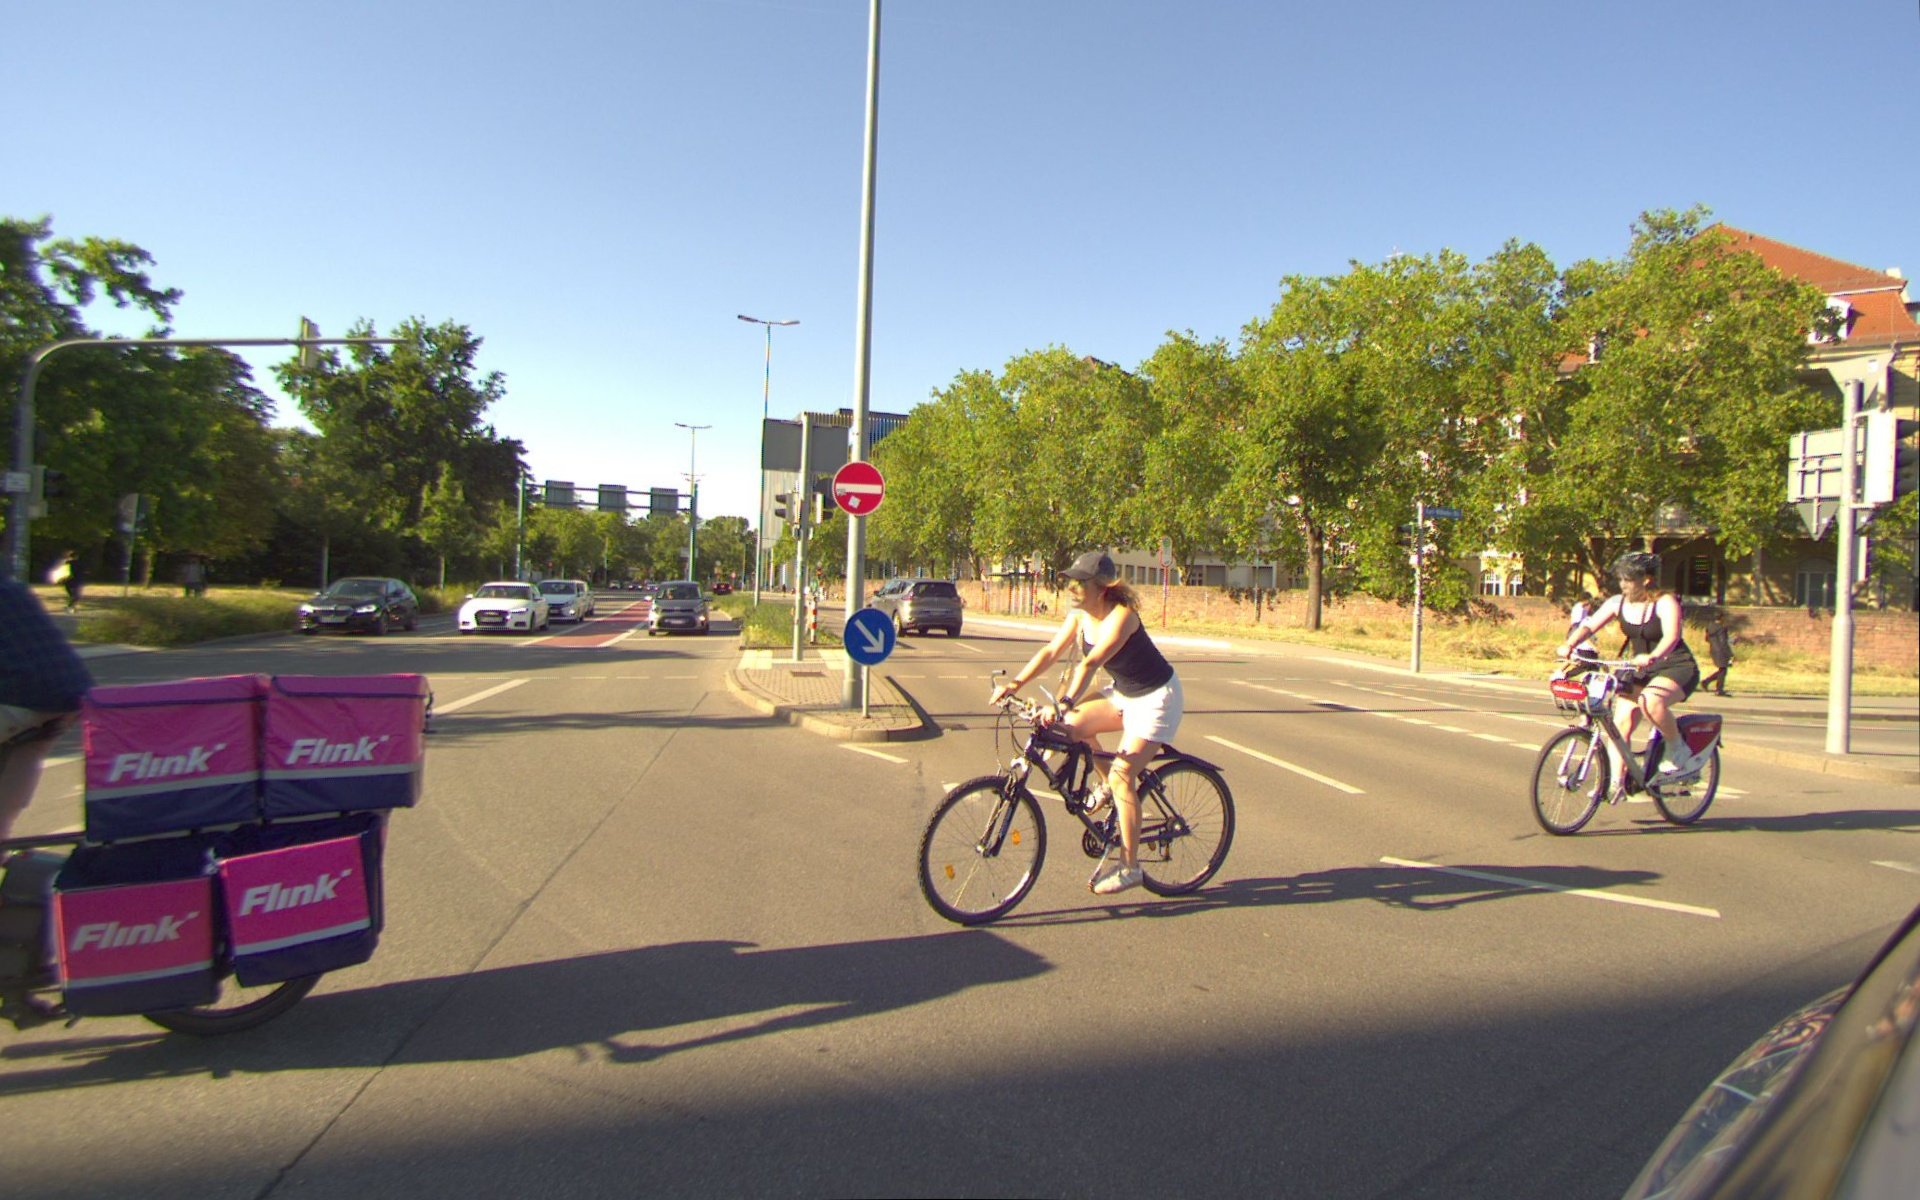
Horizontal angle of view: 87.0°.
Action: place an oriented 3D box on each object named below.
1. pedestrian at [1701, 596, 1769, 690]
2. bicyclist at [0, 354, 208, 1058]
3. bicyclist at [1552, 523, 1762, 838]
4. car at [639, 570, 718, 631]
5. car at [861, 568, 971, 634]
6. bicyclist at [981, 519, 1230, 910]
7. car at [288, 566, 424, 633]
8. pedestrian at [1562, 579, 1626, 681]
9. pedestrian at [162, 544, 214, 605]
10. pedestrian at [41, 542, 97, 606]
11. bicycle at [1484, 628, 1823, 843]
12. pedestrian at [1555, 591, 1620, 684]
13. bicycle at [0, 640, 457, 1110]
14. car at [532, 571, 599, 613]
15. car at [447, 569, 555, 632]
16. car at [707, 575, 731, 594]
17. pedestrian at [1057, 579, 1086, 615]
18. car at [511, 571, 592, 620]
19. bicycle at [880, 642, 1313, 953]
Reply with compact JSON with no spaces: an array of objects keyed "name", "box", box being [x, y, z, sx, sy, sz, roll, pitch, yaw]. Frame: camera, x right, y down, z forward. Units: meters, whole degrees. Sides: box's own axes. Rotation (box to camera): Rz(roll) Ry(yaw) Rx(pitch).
[{"name":"pedestrian","box":[14.836,0.800,19.392,0.786,1.672,0.706,4,4,27]},{"name":"bicyclist","box":[-2.950,0.274,2.915,1.070,1.856,0.782,0,1,-21]},{"name":"bicyclist","box":[4.315,0.454,6.296,0.832,1.810,0.719,0,1,-21]},{"name":"car","box":[-7.934,-0.039,28.819,1.885,1.538,4.026,2,1,-12]},{"name":"car","box":[-1.388,-0.032,29.591,1.958,1.705,4.640,2,1,-19]},{"name":"bicyclist","box":[0.640,0.471,4.568,0.832,1.569,0.719,2,-2,-23]},{"name":"car","box":[-15.478,-0.068,26.166,1.766,1.538,4.008,2,1,-12]},{"name":"pedestrian","box":[12.617,0.573,20.139,0.870,1.916,0.702,6,5,41]},{"name":"pedestrian","box":[-23.540,-0.769,30.876,0.997,1.771,0.851,3,0,-21]},{"name":"pedestrian","box":[-22.562,-0.662,25.646,0.747,1.562,0.849,3,0,-21]},{"name":"bicycle","box":[4.332,0.771,6.313,2.023,1.135,0.721,0,1,-21]},{"name":"pedestrian","box":[12.159,0.703,19.607,0.870,1.694,0.702,6,5,41]},{"name":"bicycle","box":[-2.915,0.757,2.946,2.526,1.170,0.782,0,2,-21]},{"name":"car","box":[-16.103,-0.365,41.530,1.885,1.538,4.026,2,1,-12]},{"name":"car","box":[-12.533,-0.040,27.922,1.766,1.538,4.441,2,1,-12]},{"name":"car","box":[-22.728,-1.491,95.327,1.958,1.616,4.009,2,1,-17]},{"name":"pedestrian","box":[4.992,-0.141,45.410,0.953,1.556,0.925,2,1,-15]},{"name":"car","box":[-14.085,-0.210,35.113,1.885,1.538,4.026,2,1,-12]},{"name":"bicycle","box":[0.623,0.782,4.564,1.830,1.136,0.721,0,-1,-24]}]
